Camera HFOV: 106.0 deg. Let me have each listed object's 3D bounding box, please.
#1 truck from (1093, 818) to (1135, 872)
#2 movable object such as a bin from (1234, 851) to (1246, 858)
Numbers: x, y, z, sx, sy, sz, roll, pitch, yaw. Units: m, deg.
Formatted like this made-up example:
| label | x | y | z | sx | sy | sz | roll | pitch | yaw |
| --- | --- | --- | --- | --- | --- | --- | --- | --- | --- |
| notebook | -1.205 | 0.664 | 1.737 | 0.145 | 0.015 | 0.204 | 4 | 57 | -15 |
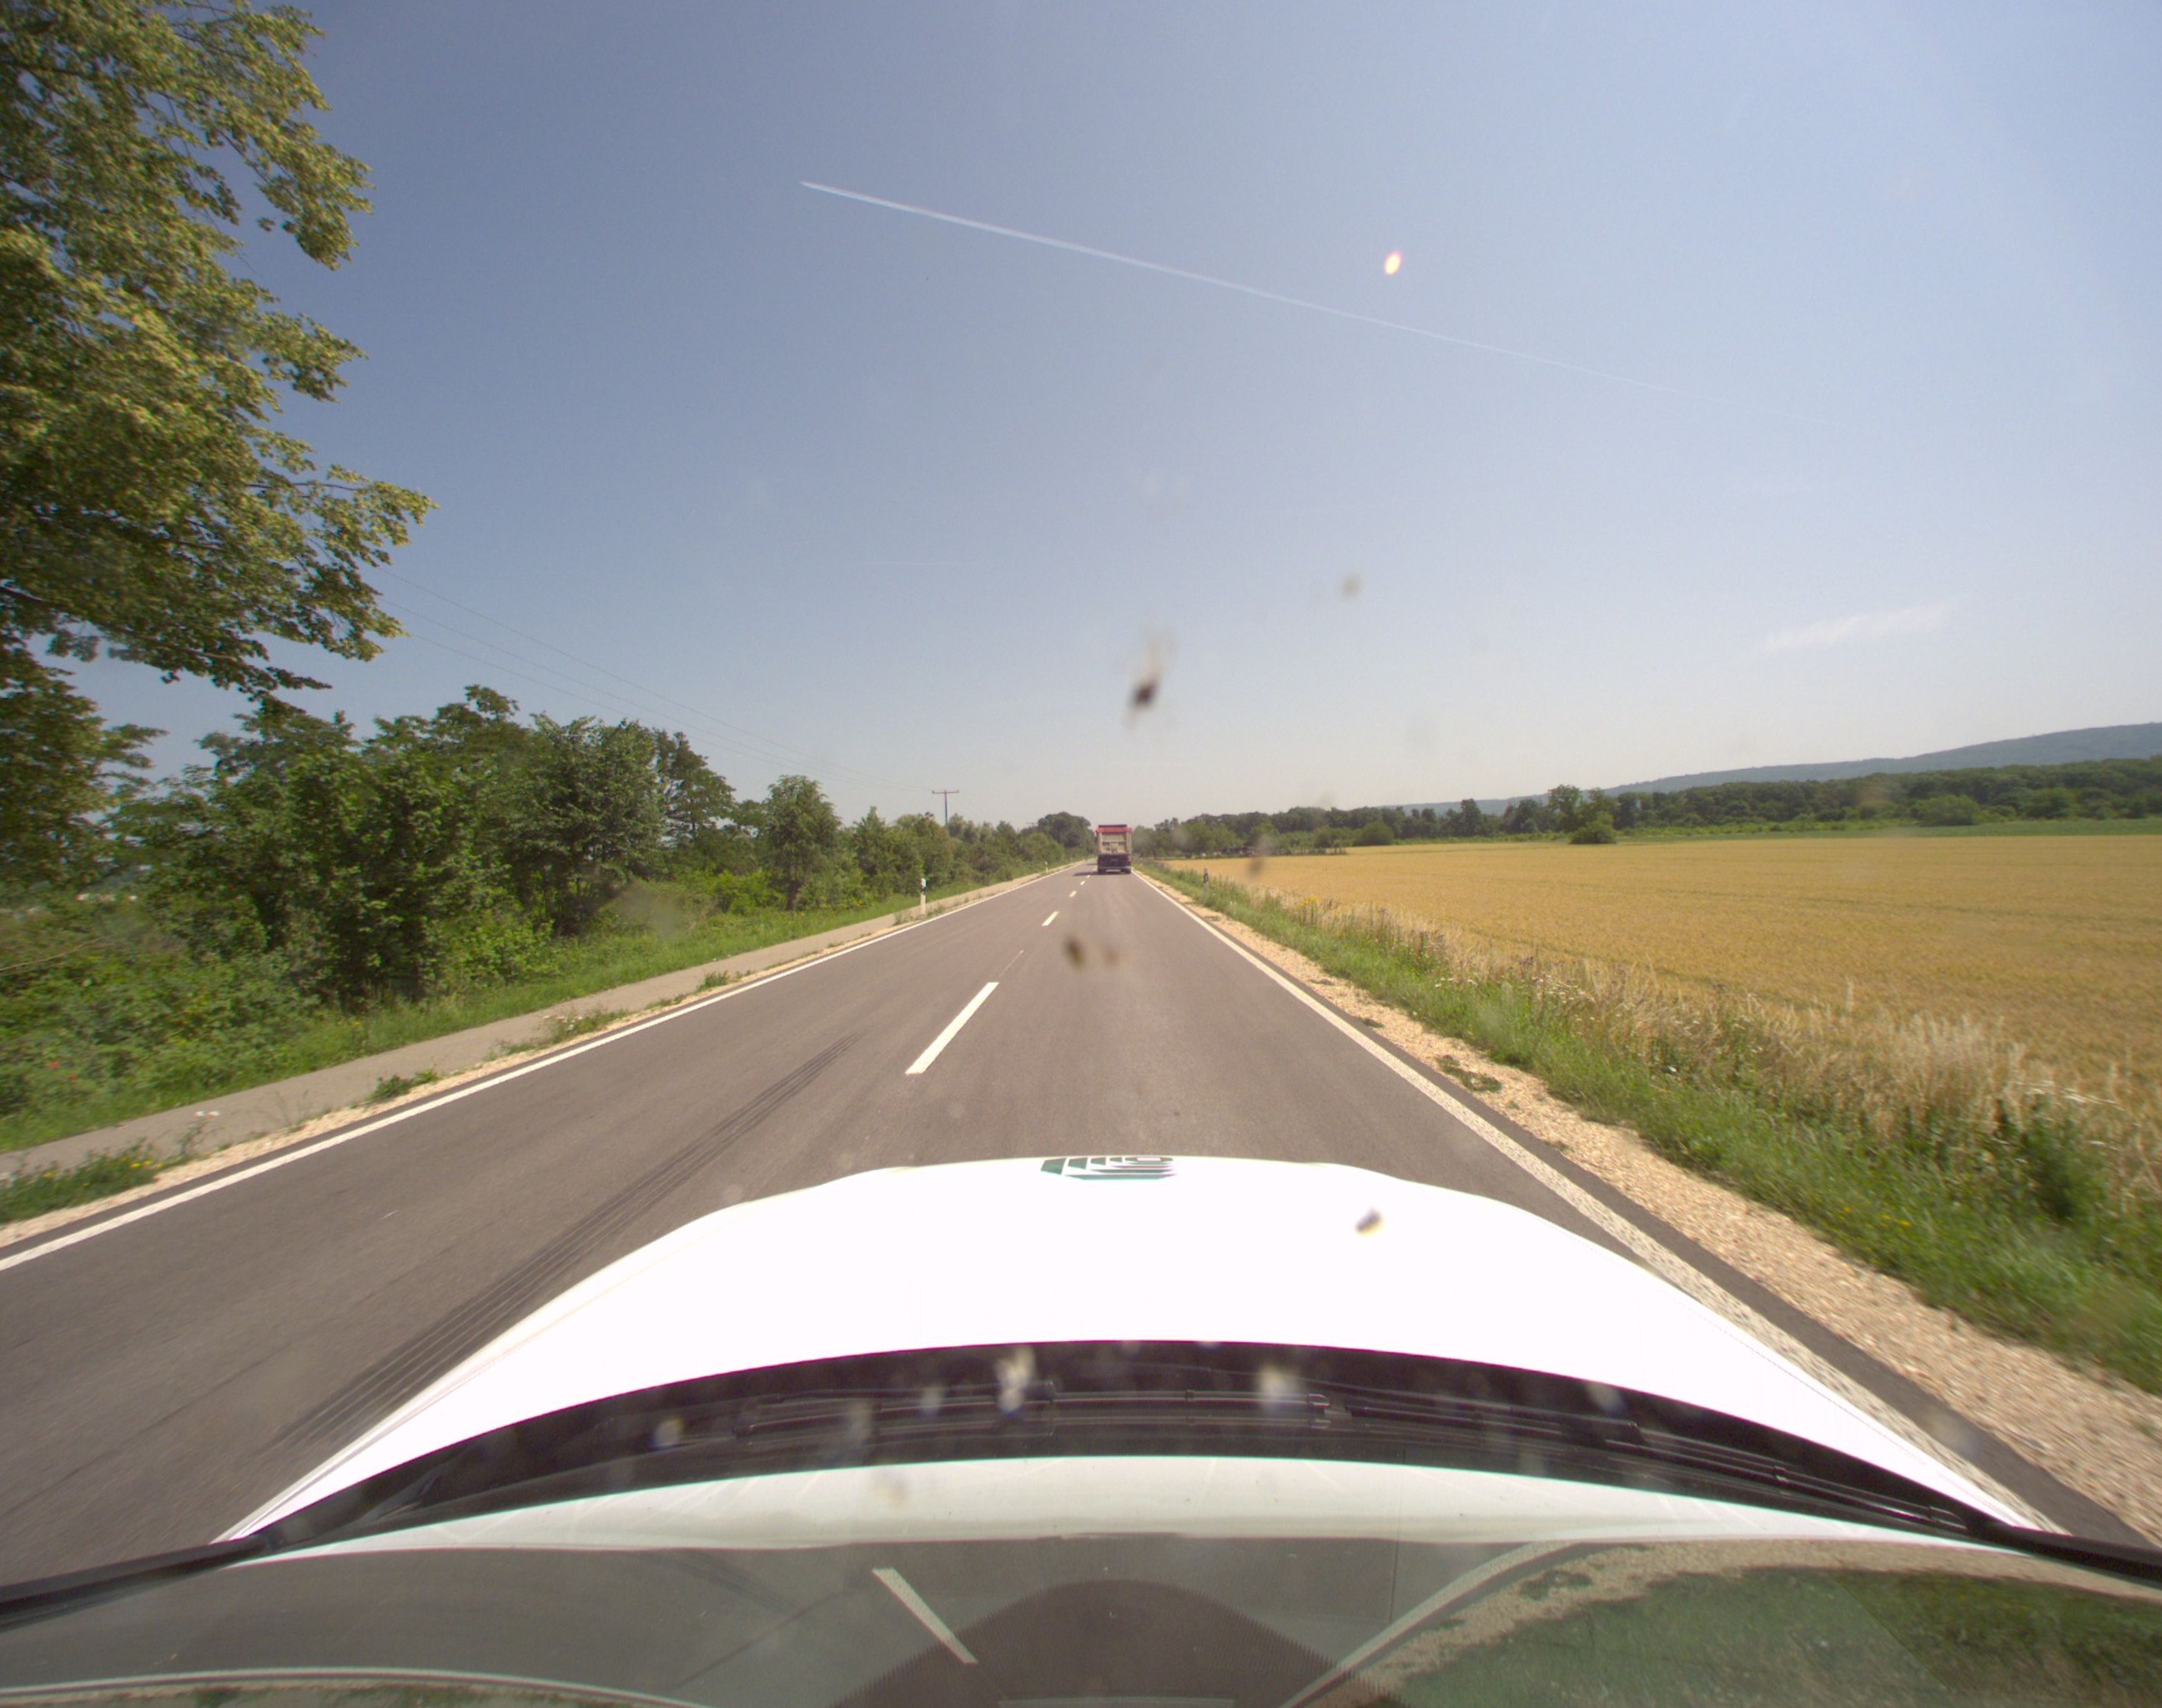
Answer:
| label | x | y | z | sx | sy | sz | roll | pitch | yaw |
| --- | --- | --- | --- | --- | --- | --- | --- | --- | --- |
| truck | 2.582 | -0.601 | 64.456 | 2.998 | 3.874 | 12.214 | 0 | 0 | 2 |
| movable object such as a bin | 32.649 | 0.128 | 166.784 | 1.567 | 1.496 | 3.655 | -2 | 0 | -3 |
